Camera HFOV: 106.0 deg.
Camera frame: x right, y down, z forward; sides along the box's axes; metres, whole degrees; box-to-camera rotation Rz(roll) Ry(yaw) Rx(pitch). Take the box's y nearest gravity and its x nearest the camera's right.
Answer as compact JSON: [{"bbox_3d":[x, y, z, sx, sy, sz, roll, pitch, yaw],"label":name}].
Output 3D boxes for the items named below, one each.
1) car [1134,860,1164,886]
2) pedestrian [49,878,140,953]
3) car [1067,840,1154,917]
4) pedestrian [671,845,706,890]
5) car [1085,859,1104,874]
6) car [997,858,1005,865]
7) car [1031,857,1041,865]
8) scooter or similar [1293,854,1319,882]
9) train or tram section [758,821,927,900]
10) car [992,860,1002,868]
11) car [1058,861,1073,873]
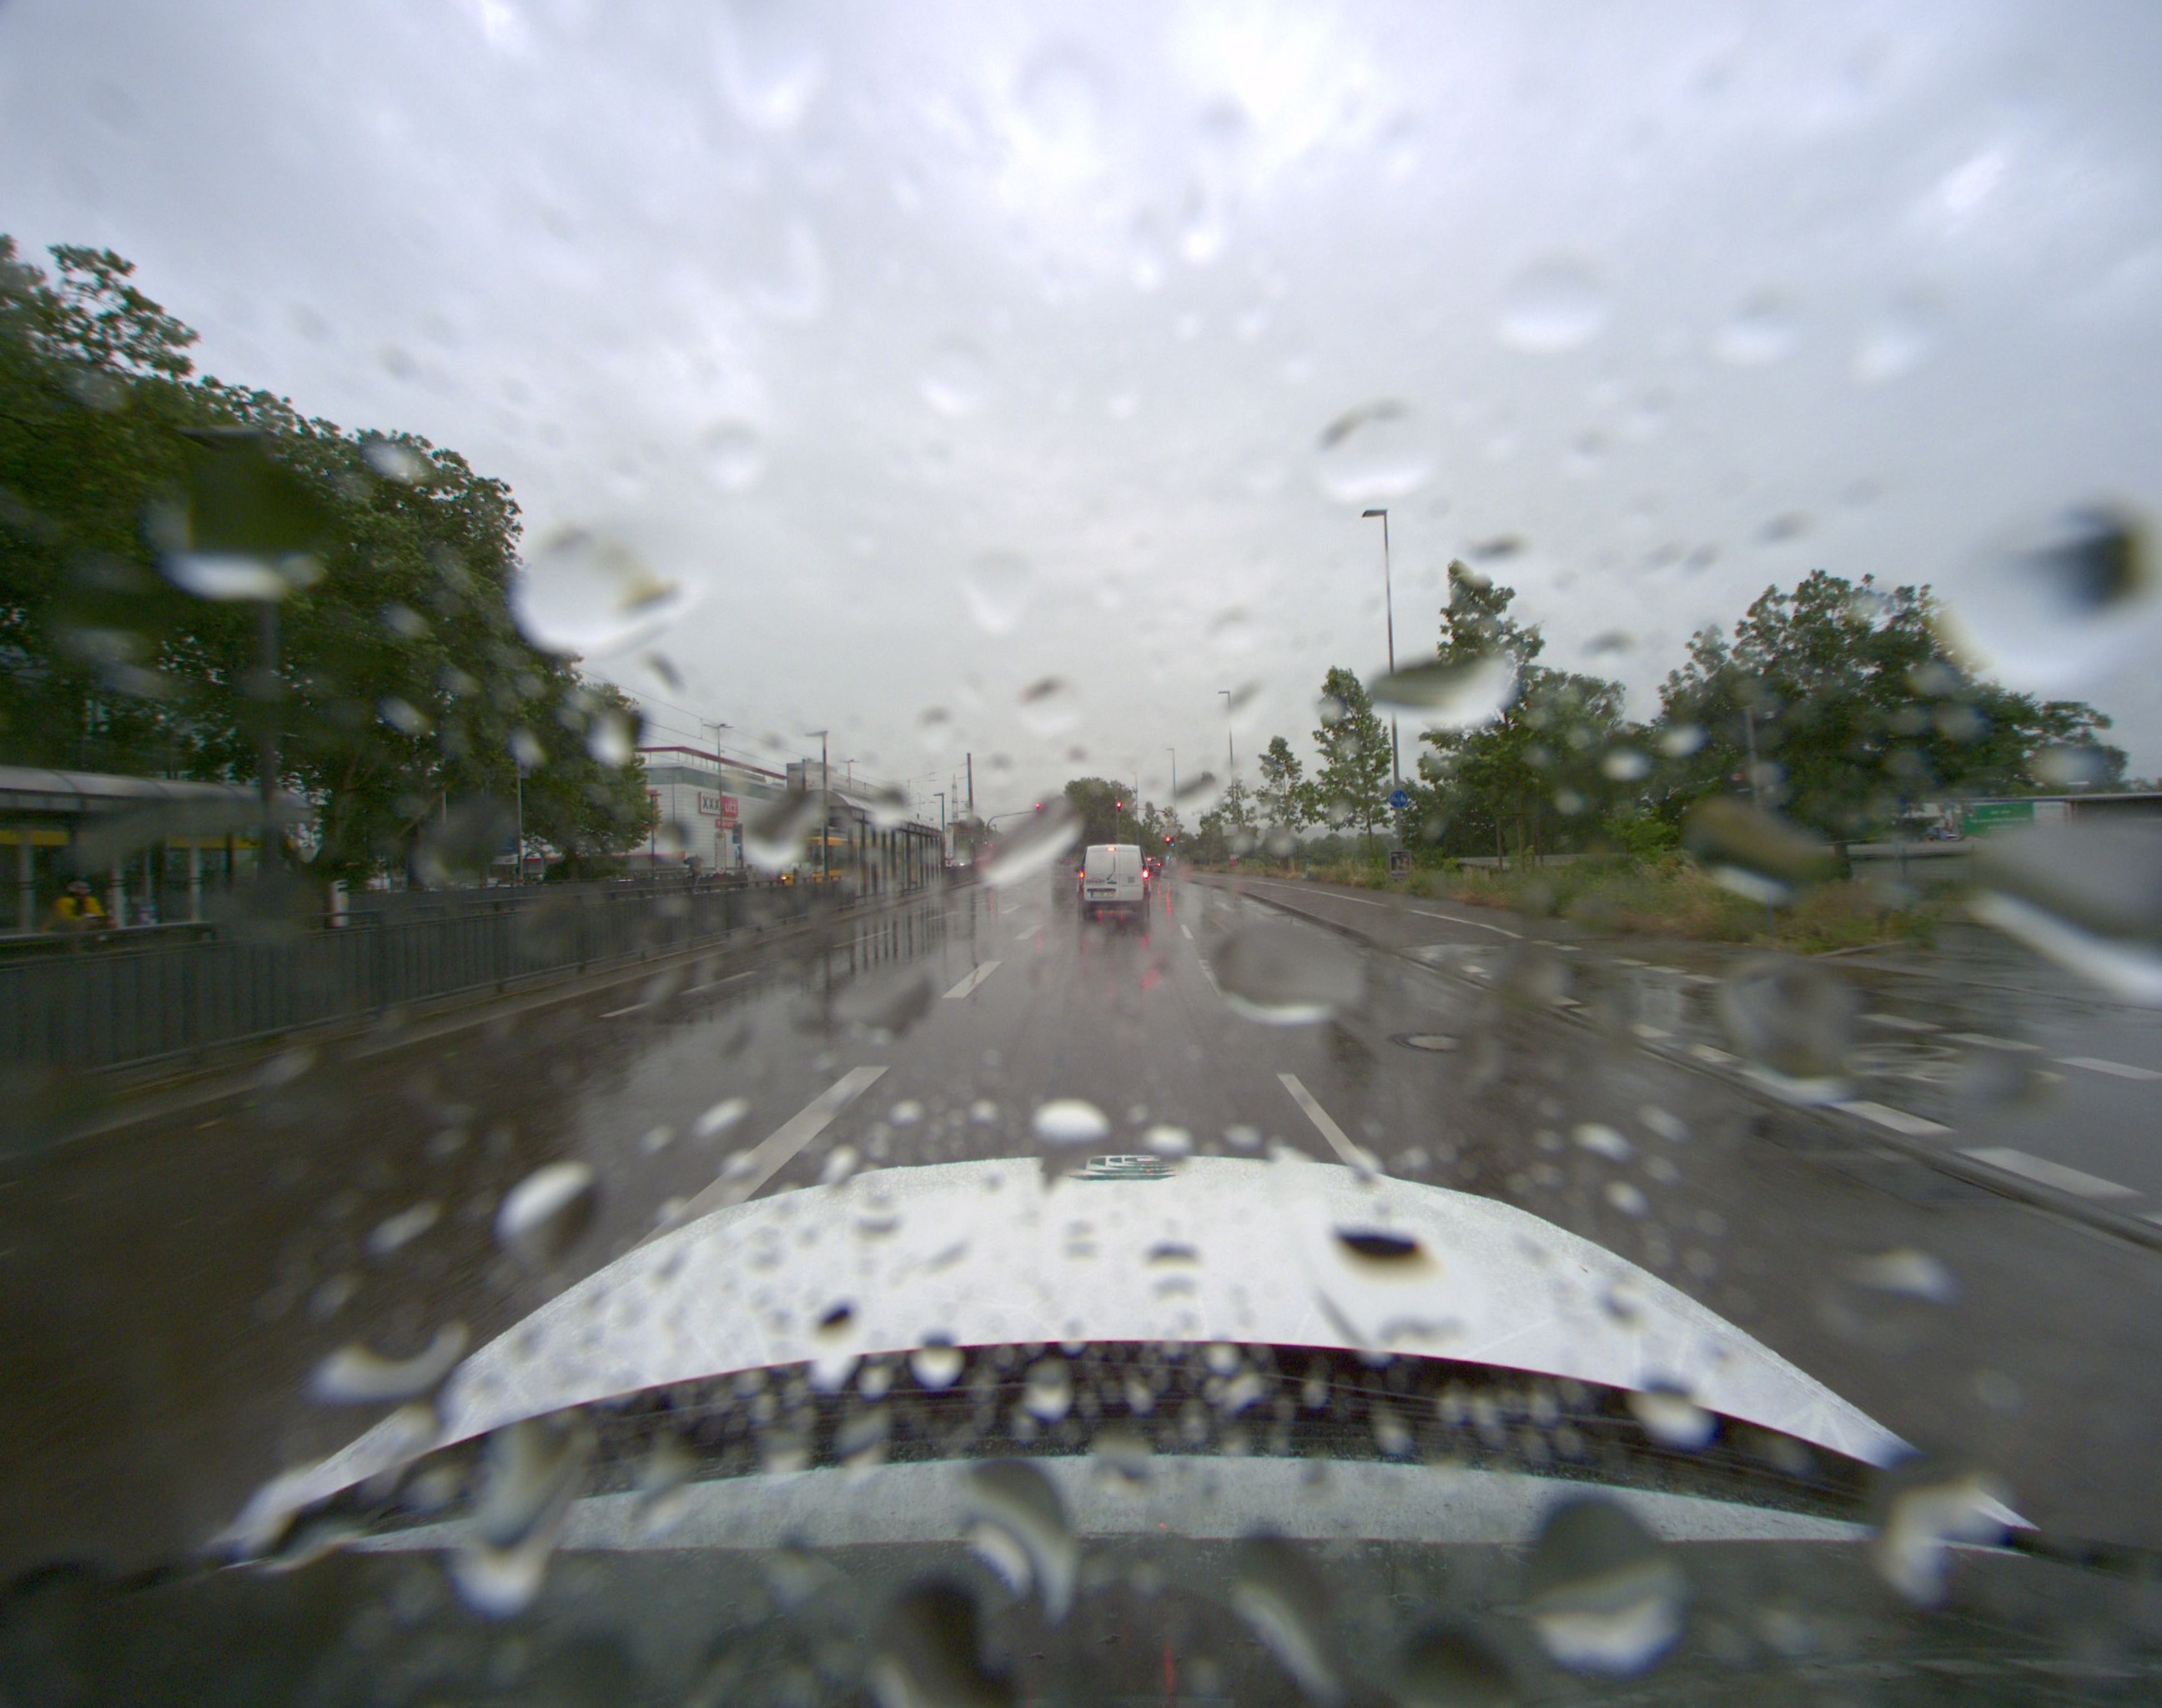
[{"bbox_3d":[4.769,1.323,57.592,1.985,1.750,4.003,0,-1,3],"label":"car"},{"bbox_3d":[-17.932,1.105,14.821,0.640,1.303,0.815,0,-1,5],"label":"pedestrian"},{"bbox_3d":[0.794,0.590,20.989,2.017,1.775,4.277,0,-1,3],"label":"car"},{"bbox_3d":[-18.120,0.620,37.620,1.086,2.014,1.094,0,-1,-5],"label":"pedestrian"},{"bbox_3d":[1.678,1.555,100.836,1.990,1.750,3.993,0,-1,-5],"label":"car"},{"bbox_3d":[-24.507,2.329,250.456,1.988,2.014,3.998,0,-1,-1],"label":"car"},{"bbox_3d":[-9.545,1.531,173.326,1.990,1.750,3.993,0,-1,-5],"label":"car"},{"bbox_3d":[9.878,0.605,35.759,0.641,1.195,1.562,-2,-1,-1],"label":"scooter or similar"},{"bbox_3d":[-14.706,0.452,55.046,3.759,4.036,27.080,0,-1,-1],"label":"train or tram section"},{"bbox_3d":[-21.151,2.581,205.245,1.985,2.014,4.003,0,-1,3],"label":"car"},{"bbox_3d":[-2.414,1.986,126.953,1.990,1.750,3.993,0,-1,-5],"label":"car"}]
